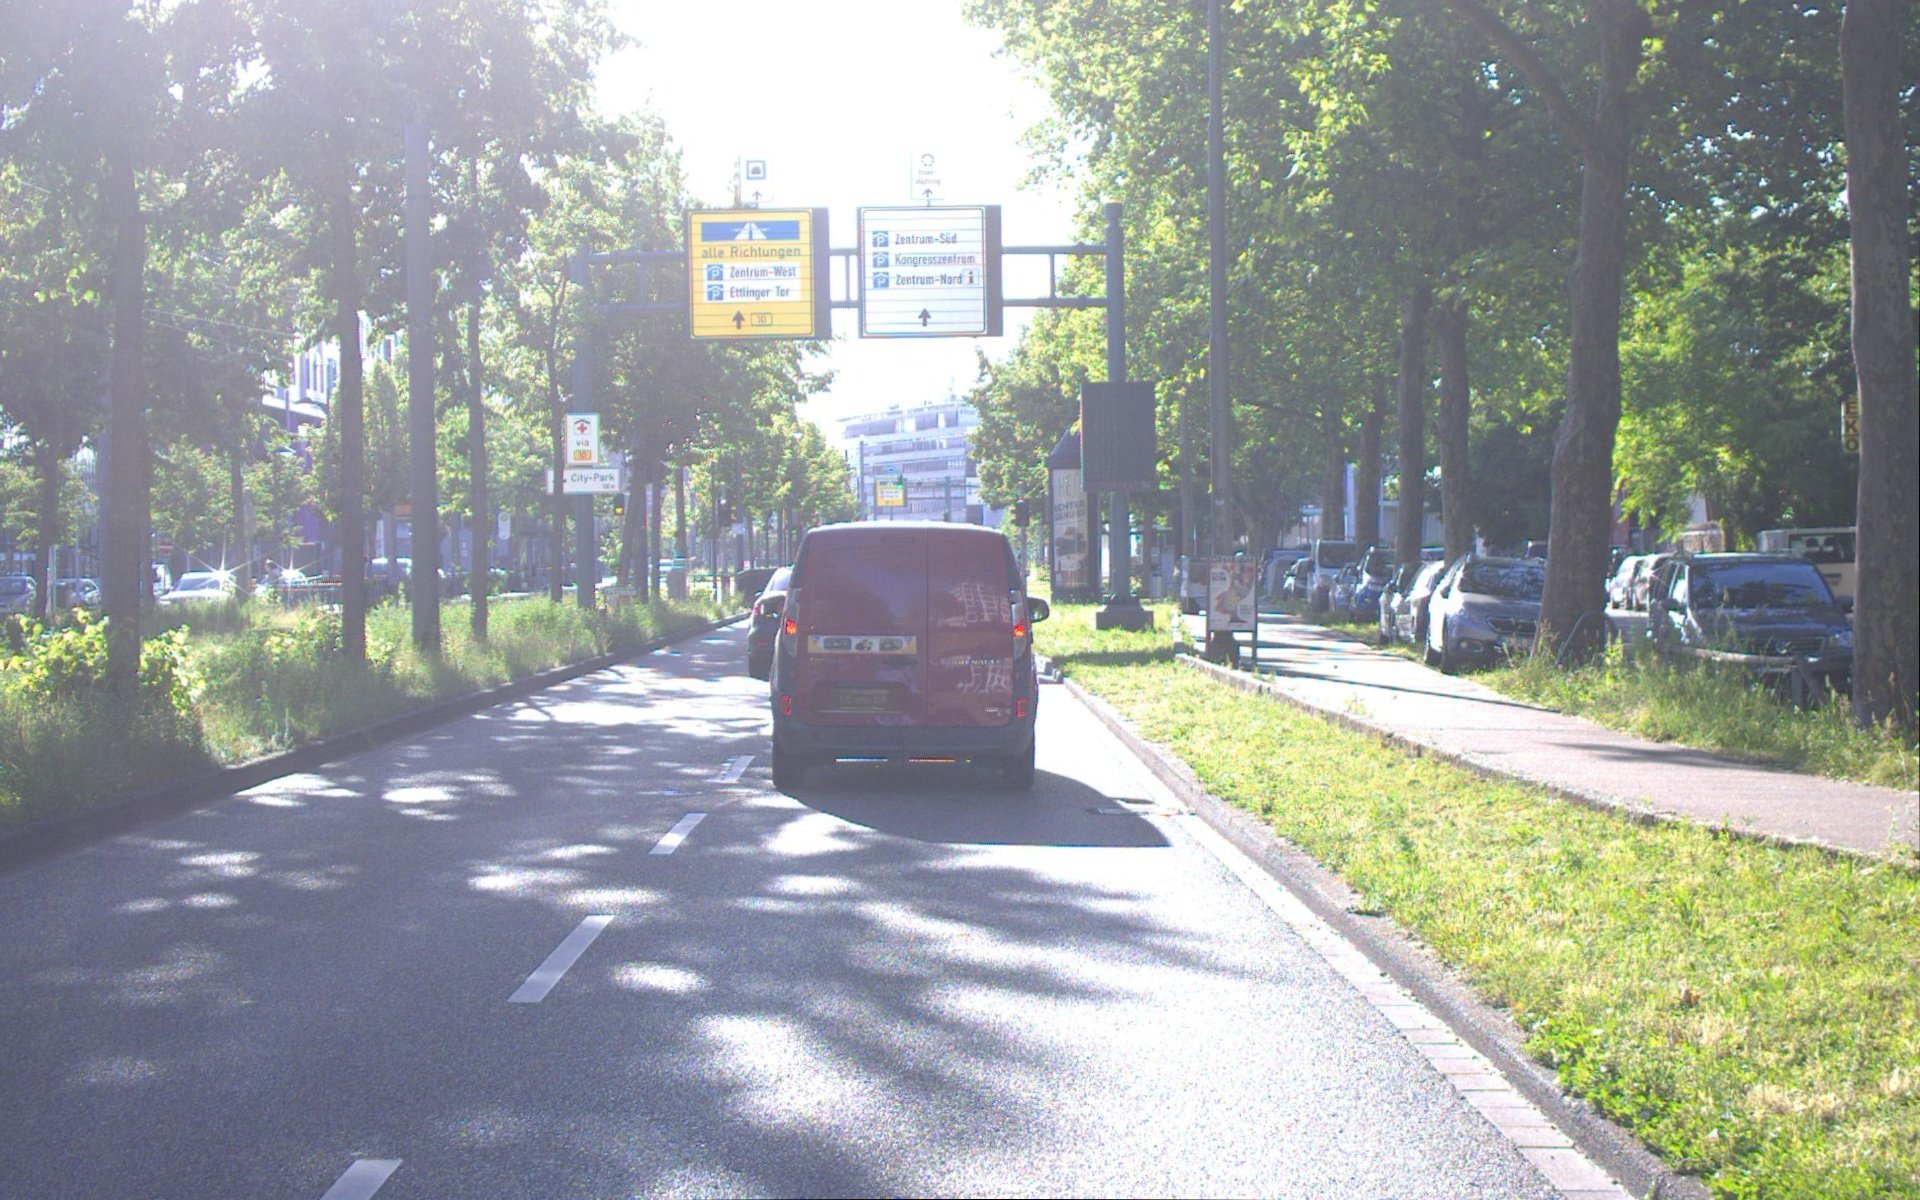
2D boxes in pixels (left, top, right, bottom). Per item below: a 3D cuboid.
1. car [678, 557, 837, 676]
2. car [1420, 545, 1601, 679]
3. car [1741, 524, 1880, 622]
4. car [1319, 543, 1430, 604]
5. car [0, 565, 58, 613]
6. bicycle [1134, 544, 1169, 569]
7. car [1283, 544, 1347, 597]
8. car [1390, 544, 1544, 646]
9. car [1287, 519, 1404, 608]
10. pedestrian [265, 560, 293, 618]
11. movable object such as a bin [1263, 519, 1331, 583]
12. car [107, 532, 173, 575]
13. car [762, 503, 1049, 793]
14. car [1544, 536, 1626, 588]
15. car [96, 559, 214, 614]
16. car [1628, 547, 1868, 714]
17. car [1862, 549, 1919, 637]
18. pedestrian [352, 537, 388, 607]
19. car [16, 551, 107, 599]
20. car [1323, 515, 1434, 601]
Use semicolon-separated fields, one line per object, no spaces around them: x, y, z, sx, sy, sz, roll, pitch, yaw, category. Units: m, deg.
-2.548;0.188;44.119;1.792;1.423;4.000;1;0;0;car
7.030;0.136;44.212;1.793;1.555;4.020;3;0;3;car
18.118;-0.590;73.458;2.087;2.007;4.942;0;1;4;car
9.091;-0.582;75.653;1.993;1.285;4.053;1;0;1;car
-32.546;-0.384;117.769;1.993;1.603;4.611;1;0;1;car
9.971;-2.269;179.211;1.778;1.264;0.479;1;0;1;bicycle
10.276;-0.848;99.688;1.662;1.495;2.989;1;0;2;car
7.518;-0.084;51.267;1.793;1.433;3.884;1;0;1;car
9.144;-0.861;81.963;2.190;2.007;5.820;1;0;1;car
-17.714;-0.285;89.435;0.550;1.513;0.588;1;0;5;pedestrian
10.773;-1.562;109.978;2.081;2.007;2.136;1;0;4;movable object such as a bin
-39.410;-2.213;165.248;1.993;2.007;4.563;1;0;1;car
-0.457;0.297;24.020;1.808;1.831;4.000;1;0;-3;car
20.516;-1.233;112.978;1.993;1.634;4.000;1;0;1;car
-21.854;-0.372;93.473;1.994;1.436;4.456;1;0;2;car
8.270;0.289;36.441;1.793;1.629;4.626;1;0;4;car
16.965;-0.163;60.008;1.690;1.467;3.757;-3;0;5;car
-15.711;-0.750;91.559;0.820;1.829;0.726;1;0;-3;pedestrian
-32.337;-0.906;123.806;1.993;1.666;4.611;1;0;1;car
8.334;-0.828;68.797;1.736;1.636;4.353;1;0;1;car
